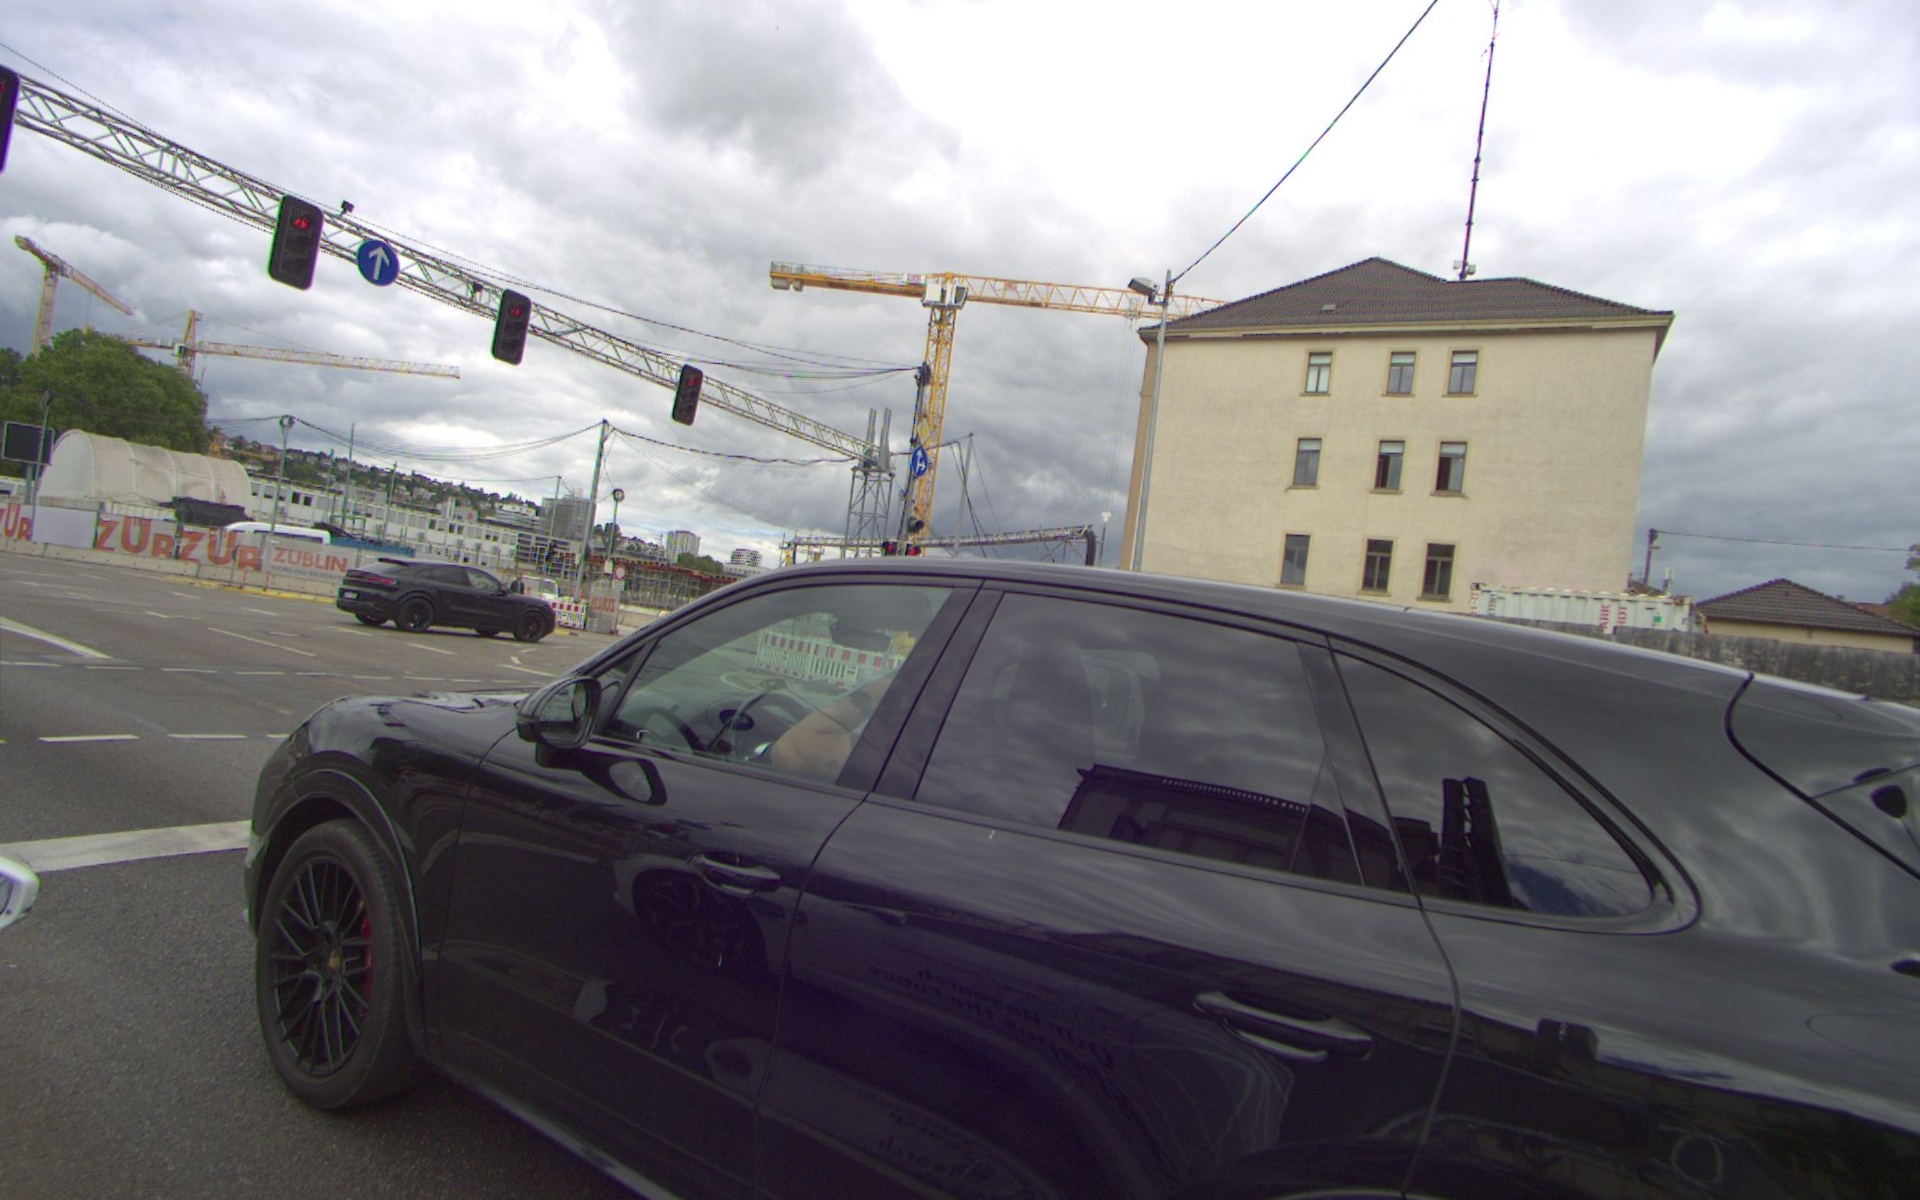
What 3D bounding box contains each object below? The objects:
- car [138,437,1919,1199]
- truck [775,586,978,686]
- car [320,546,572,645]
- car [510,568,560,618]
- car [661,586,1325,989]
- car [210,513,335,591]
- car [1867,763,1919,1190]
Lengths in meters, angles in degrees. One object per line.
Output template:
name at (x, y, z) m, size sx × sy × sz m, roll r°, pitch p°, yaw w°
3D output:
car at (-0.045, 0.658, 2.662) m, size 4.410 × 1.735 × 1.828 m, roll 6°, pitch -2°, yaw 32°
truck at (-2.888, 1.523, 38.607) m, size 2.583 × 2.835 × 8.999 m, roll 7°, pitch -2°, yaw 32°
car at (-11.915, -0.037, 23.671) m, size 1.988 × 1.643 × 4.816 m, roll 6°, pitch -2°, yaw 33°
car at (-19.163, -0.322, 45.293) m, size 1.757 × 1.976 × 3.108 m, roll 8°, pitch -2°, yaw -25°
car at (0.115, 0.982, 6.659) m, size 3.934 × 1.644 × 1.679 m, roll 6°, pitch -2°, yaw 32°
car at (-29.573, -2.041, 43.365) m, size 1.660 × 2.692 × 3.979 m, roll 6°, pitch -2°, yaw 45°
car at (5.767, 1.683, 2.565) m, size 4.729 × 1.644 × 1.828 m, roll 6°, pitch -2°, yaw 32°
